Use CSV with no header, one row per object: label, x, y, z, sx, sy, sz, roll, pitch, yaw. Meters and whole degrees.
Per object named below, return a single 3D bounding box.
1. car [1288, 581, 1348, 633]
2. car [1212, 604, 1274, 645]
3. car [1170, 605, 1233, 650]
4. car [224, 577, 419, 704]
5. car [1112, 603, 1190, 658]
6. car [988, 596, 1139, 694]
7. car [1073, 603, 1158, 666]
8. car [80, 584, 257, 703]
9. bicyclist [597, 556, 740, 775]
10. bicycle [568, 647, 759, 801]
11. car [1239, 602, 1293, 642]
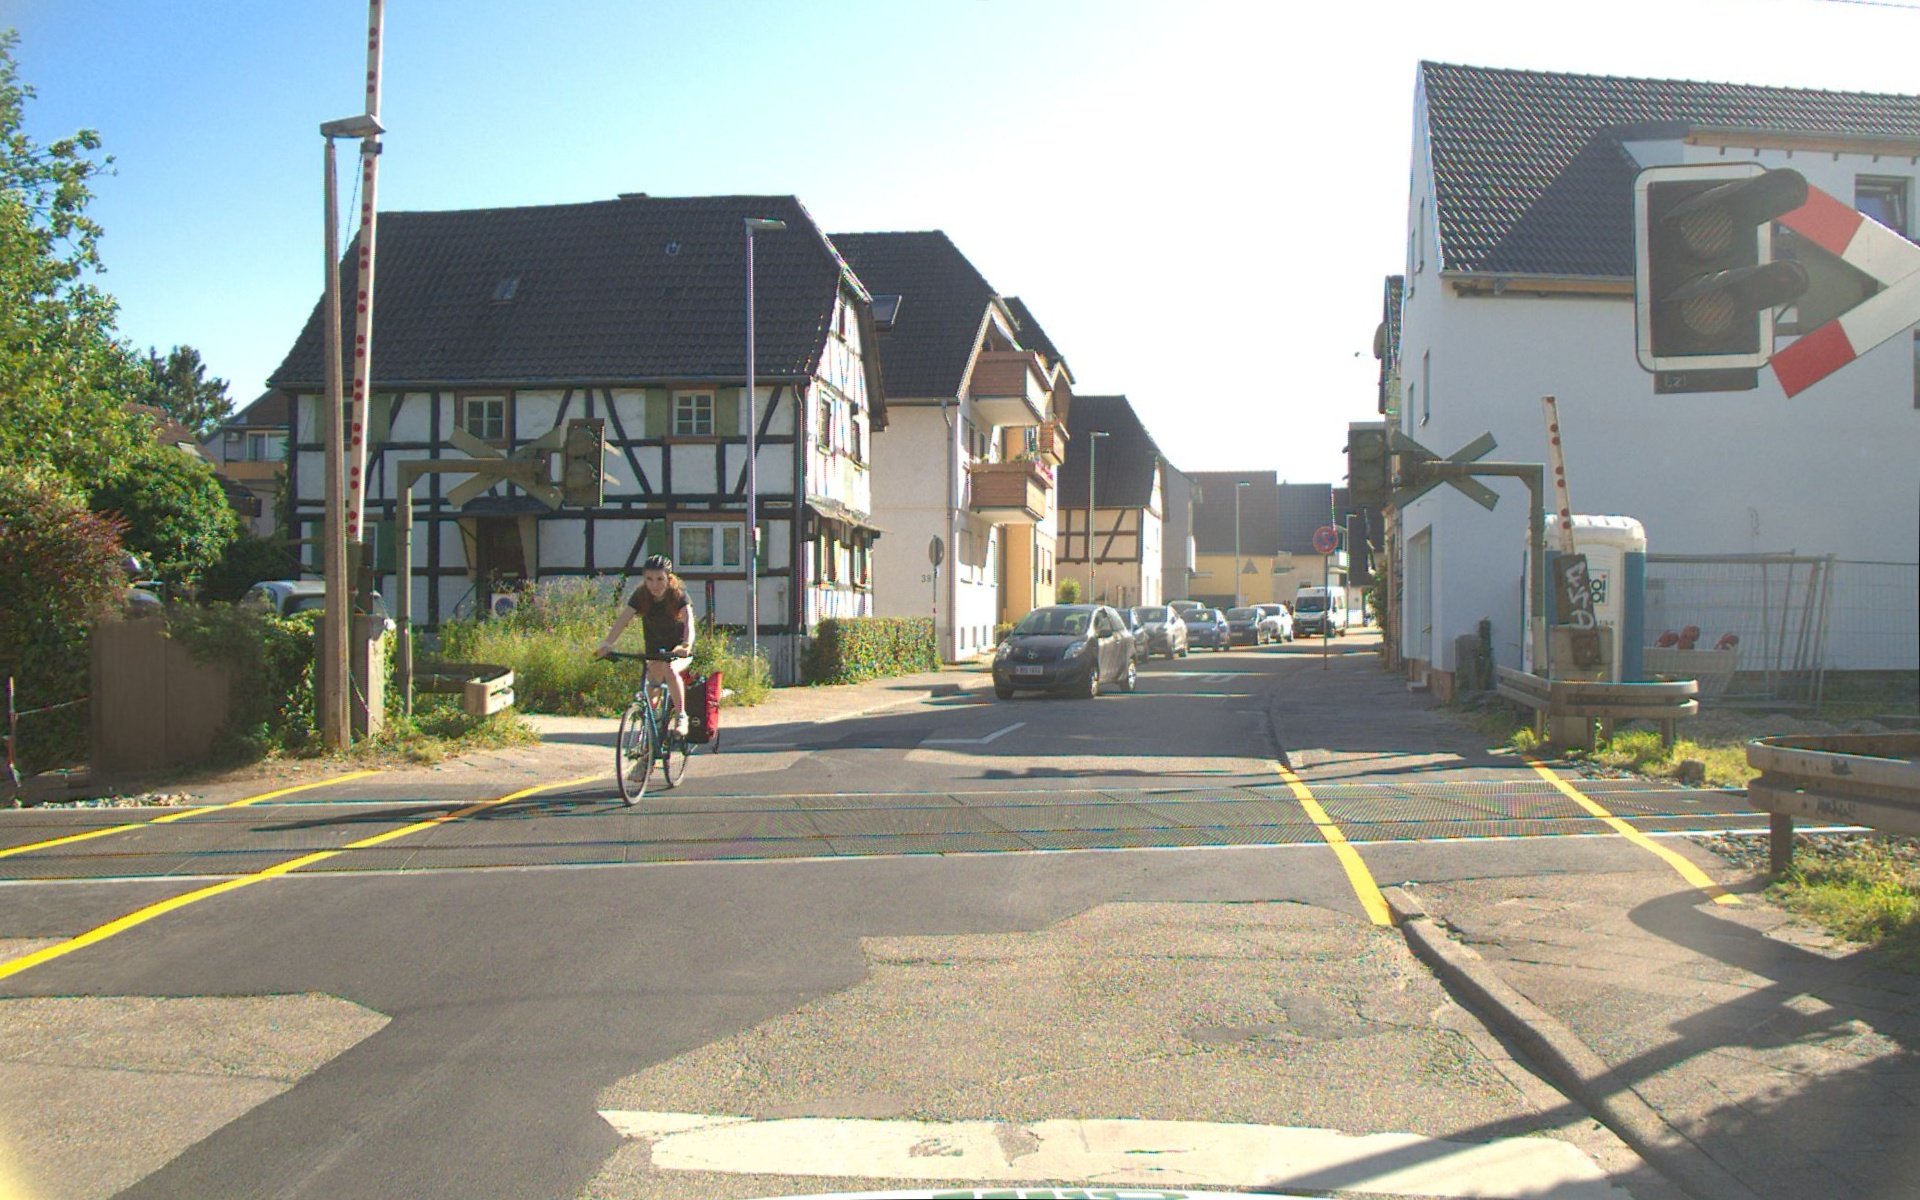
car,17.855,0.361,82.334,2.034,2.436,5.208,-2,-1,21
car,11.319,0.955,65.990,1.668,1.545,4.122,-2,-1,20
car,8.346,0.941,56.966,1.604,1.466,4.077,-1,-1,16
car,-8.856,0.529,22.768,1.668,1.592,3.953,3,-1,-33
car,5.644,0.876,48.628,1.638,1.532,4.097,-1,0,15
car,1.818,0.743,27.931,1.651,1.536,3.656,-1,-1,18
car,4.162,0.884,43.875,1.596,1.532,3.856,-3,-1,14
car,-10.582,0.525,21.985,1.622,1.426,3.787,1,0,-33
bicyclist,-2.164,0.481,12.363,0.830,1.568,0.874,-1,-1,6
bicycle,-2.149,0.879,12.307,0.865,1.023,2.064,-1,-1,6
car,13.038,0.927,70.332,1.639,1.599,3.966,-2,-1,20
